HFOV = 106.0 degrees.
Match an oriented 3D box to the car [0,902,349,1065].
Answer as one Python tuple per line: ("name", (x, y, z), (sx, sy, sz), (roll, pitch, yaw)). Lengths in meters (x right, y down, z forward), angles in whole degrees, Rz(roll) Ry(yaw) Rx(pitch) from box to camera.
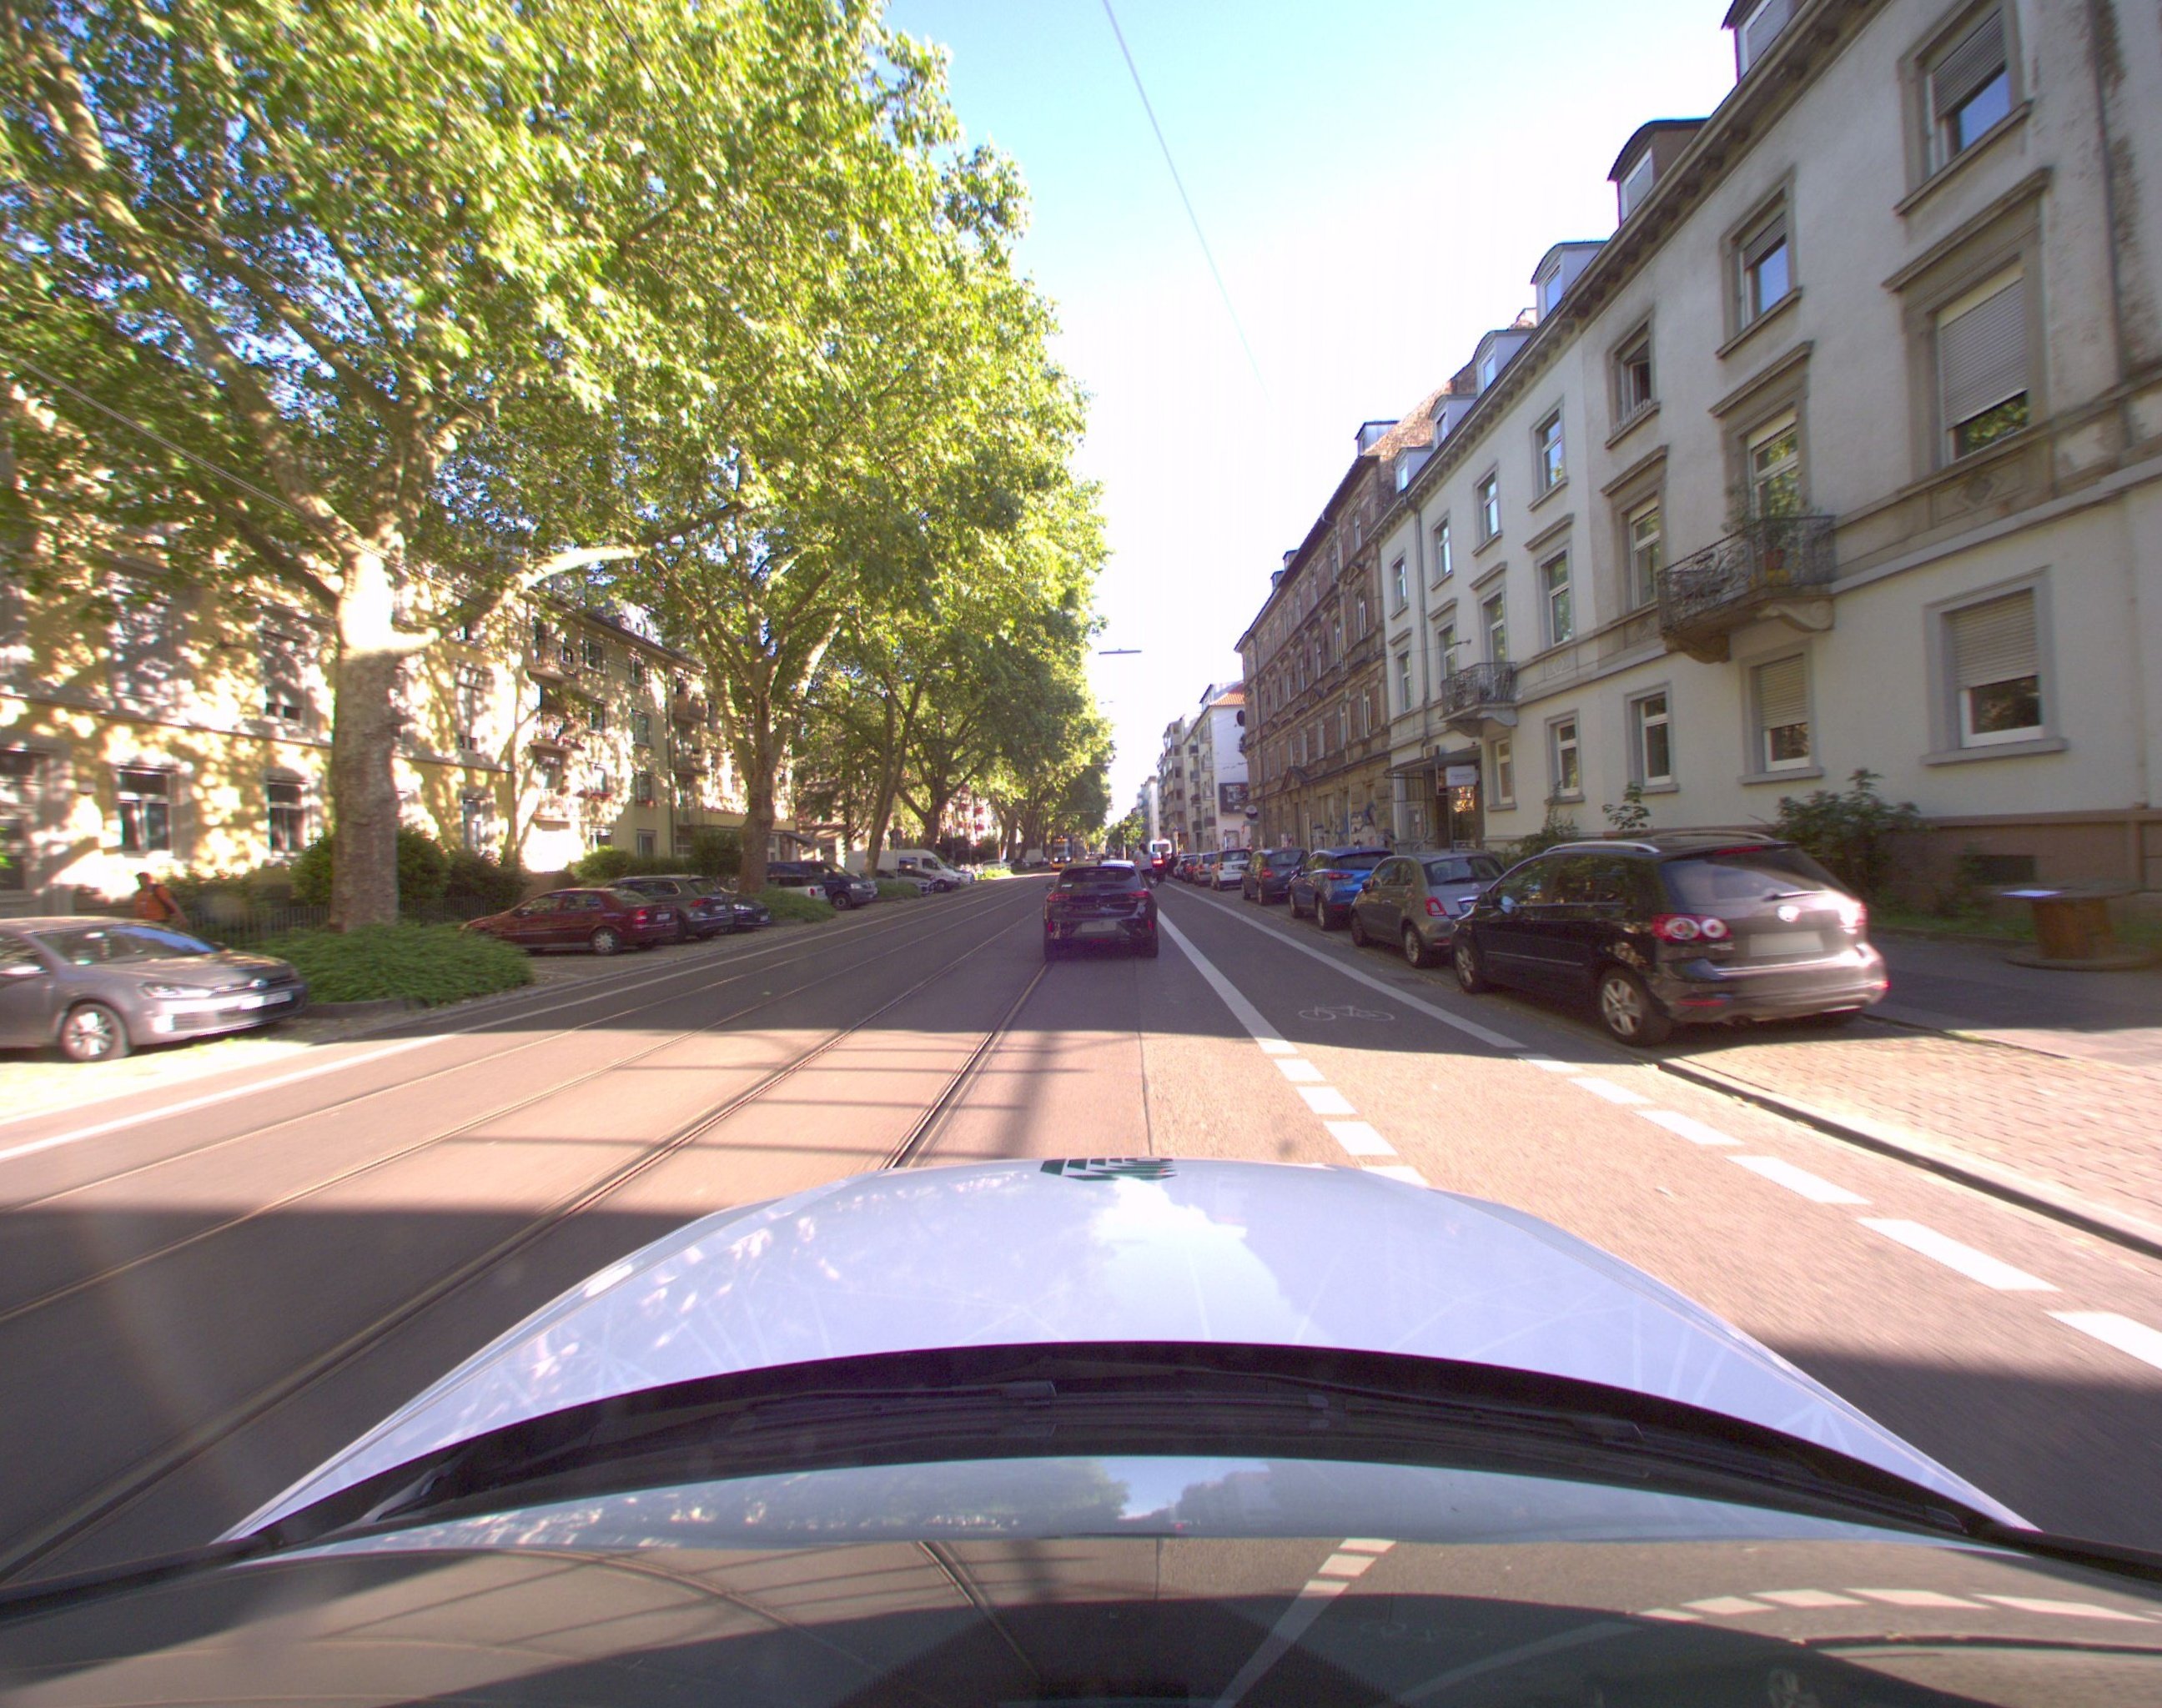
("car", (-11.036, 1.415, 9.177), (3.905, 1.462, 1.806), (-3, 0, 2))

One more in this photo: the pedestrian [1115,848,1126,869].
("pedestrian", (3.144, 0.358, 64.827), (0.673, 1.567, 0.772), (-2, 0, 17))

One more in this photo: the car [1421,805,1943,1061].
("car", (5.019, 0.560, 7.649), (1.874, 1.585, 3.932), (-6, 0, 0))

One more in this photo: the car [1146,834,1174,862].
("car", (7.172, -0.508, 74.395), (2.067, 2.219, 4.937), (-6, 0, 3))

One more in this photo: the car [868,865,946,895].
("car", (-9.443, 1.403, 44.412), (3.909, 1.498, 1.676), (-1, 0, -1))

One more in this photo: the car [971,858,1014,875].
("car", (-8.396, 1.202, 77.900), (3.909, 1.498, 1.676), (-1, 0, -1))

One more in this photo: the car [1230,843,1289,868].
("car", (14.664, 0.112, 66.980), (4.362, 1.798, 1.877), (-2, 0, 1))

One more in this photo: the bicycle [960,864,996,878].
("bicycle", (-9.071, 1.494, 71.454), (2.919, 1.169, 0.995), (-2, 0, 18))

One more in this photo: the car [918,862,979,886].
("car", (-9.075, 1.354, 55.987), (3.909, 1.577, 1.676), (-1, 0, -1))

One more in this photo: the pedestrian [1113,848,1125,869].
("pedestrian", (2.995, 0.362, 64.014), (0.673, 1.567, 0.772), (-2, 0, 17))

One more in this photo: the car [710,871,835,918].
("car", (-10.891, 1.414, 28.887), (3.720, 1.498, 1.747), (-1, 0, 1))

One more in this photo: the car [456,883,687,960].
("car", (-10.967, 1.432, 17.715), (3.905, 1.442, 1.749), (-1, 0, 2))

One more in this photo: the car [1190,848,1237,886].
("car", (5.935, 0.570, 36.797), (1.697, 1.456, 3.702), (-6, 0, 5))

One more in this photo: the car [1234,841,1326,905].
("car", (5.549, 0.492, 23.149), (1.704, 1.483, 3.766), (-6, 0, 3))

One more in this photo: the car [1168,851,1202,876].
("car", (6.656, 0.607, 52.545), (1.802, 1.379, 3.936), (-6, 0, 3))

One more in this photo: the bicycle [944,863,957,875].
("bicycle", (-14.527, 1.648, 90.824), (0.984, 1.169, 2.952), (-2, 0, 0))

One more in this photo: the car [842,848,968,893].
("car", (-10.049, 0.920, 46.909), (6.603, 2.409, 2.459), (-1, 0, 1))

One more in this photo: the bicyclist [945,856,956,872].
("bicyclist", (-14.554, 1.123, 90.817), (0.984, 1.756, 1.154), (-2, 0, 0))

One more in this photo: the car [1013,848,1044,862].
("car", (-6.977, 0.089, 108.359), (3.909, 1.790, 1.676), (-1, 0, -1))

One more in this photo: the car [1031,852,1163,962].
("car", (0.274, 0.743, 13.206), (1.787, 1.441, 3.532), (-2, 1, 1))

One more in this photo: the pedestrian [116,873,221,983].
("pedestrian", (-16.314, 1.299, 14.582), (0.864, 1.849, 0.836), (-2, 0, -6))

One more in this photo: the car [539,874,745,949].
("car", (-10.660, 1.361, 19.975), (3.980, 1.627, 1.880), (-1, 0, 1))

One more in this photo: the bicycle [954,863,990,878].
("bicycle", (-9.462, 1.470, 70.483), (2.919, 1.169, 0.995), (-2, 0, 18))

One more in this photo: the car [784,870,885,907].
("car", (-10.395, 1.451, 34.511), (3.720, 1.430, 1.638), (-1, 0, 1))

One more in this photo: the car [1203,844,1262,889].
("car", (5.845, 0.478, 31.743), (1.563, 1.517, 3.039), (-6, 0, 0))

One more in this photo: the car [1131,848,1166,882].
("car", (3.722, 0.595, 45.449), (1.802, 1.742, 3.936), (-3, 0, 3))

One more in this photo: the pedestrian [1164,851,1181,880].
("pedestrian", (5.079, 0.626, 45.409), (0.862, 1.567, 0.769), (-2, 0, 5))

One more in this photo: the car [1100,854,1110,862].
("car", (4.464, 0.774, 150.689), (1.804, 1.338, 3.933), (-3, 0, 1))

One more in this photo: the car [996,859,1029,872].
("car", (-8.288, 1.401, 98.979), (3.909, 1.498, 1.676), (-1, 0, -1))

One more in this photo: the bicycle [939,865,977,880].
("bicycle", (-10.299, 1.566, 68.093), (2.919, 1.169, 0.995), (-2, 0, 18))

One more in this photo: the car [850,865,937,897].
("car", (-9.444, 1.349, 41.203), (3.904, 1.498, 1.678), (-1, 0, 3))

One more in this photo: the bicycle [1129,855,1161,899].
("bicycle", (2.179, 0.754, 27.972), (0.857, 1.407, 2.524), (-2, 0, 1))

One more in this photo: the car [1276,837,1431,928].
("car", (5.402, 0.523, 16.724), (1.872, 1.456, 4.029), (-6, 0, 3))

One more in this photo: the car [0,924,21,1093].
("car", (-11.363, 1.434, 6.323), (3.907, 1.453, 1.800), (-3, 0, 1))

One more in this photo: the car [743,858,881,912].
("car", (-10.435, 1.191, 31.808), (4.656, 1.924, 1.981), (-1, 0, 2))

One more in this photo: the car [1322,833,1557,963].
("car", (5.112, 0.566, 12.230), (1.792, 1.456, 3.769), (-6, 0, 1))

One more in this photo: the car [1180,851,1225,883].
("car", (6.085, 0.633, 41.198), (1.802, 1.338, 3.936), (-6, 0, 3))

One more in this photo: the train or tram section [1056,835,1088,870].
("train or tram section", (-0.871, -0.137, 94.615), (2.723, 3.681, 12.726), (-3, 0, 3))

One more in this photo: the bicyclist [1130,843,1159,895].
("bicyclist", (2.167, 0.502, 28.033), (0.845, 1.740, 1.162), (-2, 0, 0))

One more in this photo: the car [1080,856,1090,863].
("car", (0.869, 1.152, 163.550), (1.802, 1.338, 3.936), (-3, 0, 3))

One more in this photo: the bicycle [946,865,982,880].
("bicycle", (-9.973, 1.555, 69.405), (2.919, 1.169, 0.995), (-2, 0, 18))

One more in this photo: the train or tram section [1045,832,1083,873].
("train or tram section", (-1.544, -0.135, 81.954), (2.723, 3.681, 12.726), (-3, 0, 3))

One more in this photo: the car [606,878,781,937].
("car", (-10.585, 1.437, 22.434), (3.907, 1.421, 1.818), (-1, 0, 0))

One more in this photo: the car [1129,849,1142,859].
("car", (8.305, -0.028, 124.672), (1.802, 1.338, 3.936), (-6, 0, 3))

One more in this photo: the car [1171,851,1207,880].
("car", (6.287, 0.644, 47.815), (1.655, 1.419, 3.936), (-6, 0, 3))

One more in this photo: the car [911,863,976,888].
("car", (-8.999, 1.409, 53.519), (3.909, 1.498, 1.676), (-1, 0, -1))
